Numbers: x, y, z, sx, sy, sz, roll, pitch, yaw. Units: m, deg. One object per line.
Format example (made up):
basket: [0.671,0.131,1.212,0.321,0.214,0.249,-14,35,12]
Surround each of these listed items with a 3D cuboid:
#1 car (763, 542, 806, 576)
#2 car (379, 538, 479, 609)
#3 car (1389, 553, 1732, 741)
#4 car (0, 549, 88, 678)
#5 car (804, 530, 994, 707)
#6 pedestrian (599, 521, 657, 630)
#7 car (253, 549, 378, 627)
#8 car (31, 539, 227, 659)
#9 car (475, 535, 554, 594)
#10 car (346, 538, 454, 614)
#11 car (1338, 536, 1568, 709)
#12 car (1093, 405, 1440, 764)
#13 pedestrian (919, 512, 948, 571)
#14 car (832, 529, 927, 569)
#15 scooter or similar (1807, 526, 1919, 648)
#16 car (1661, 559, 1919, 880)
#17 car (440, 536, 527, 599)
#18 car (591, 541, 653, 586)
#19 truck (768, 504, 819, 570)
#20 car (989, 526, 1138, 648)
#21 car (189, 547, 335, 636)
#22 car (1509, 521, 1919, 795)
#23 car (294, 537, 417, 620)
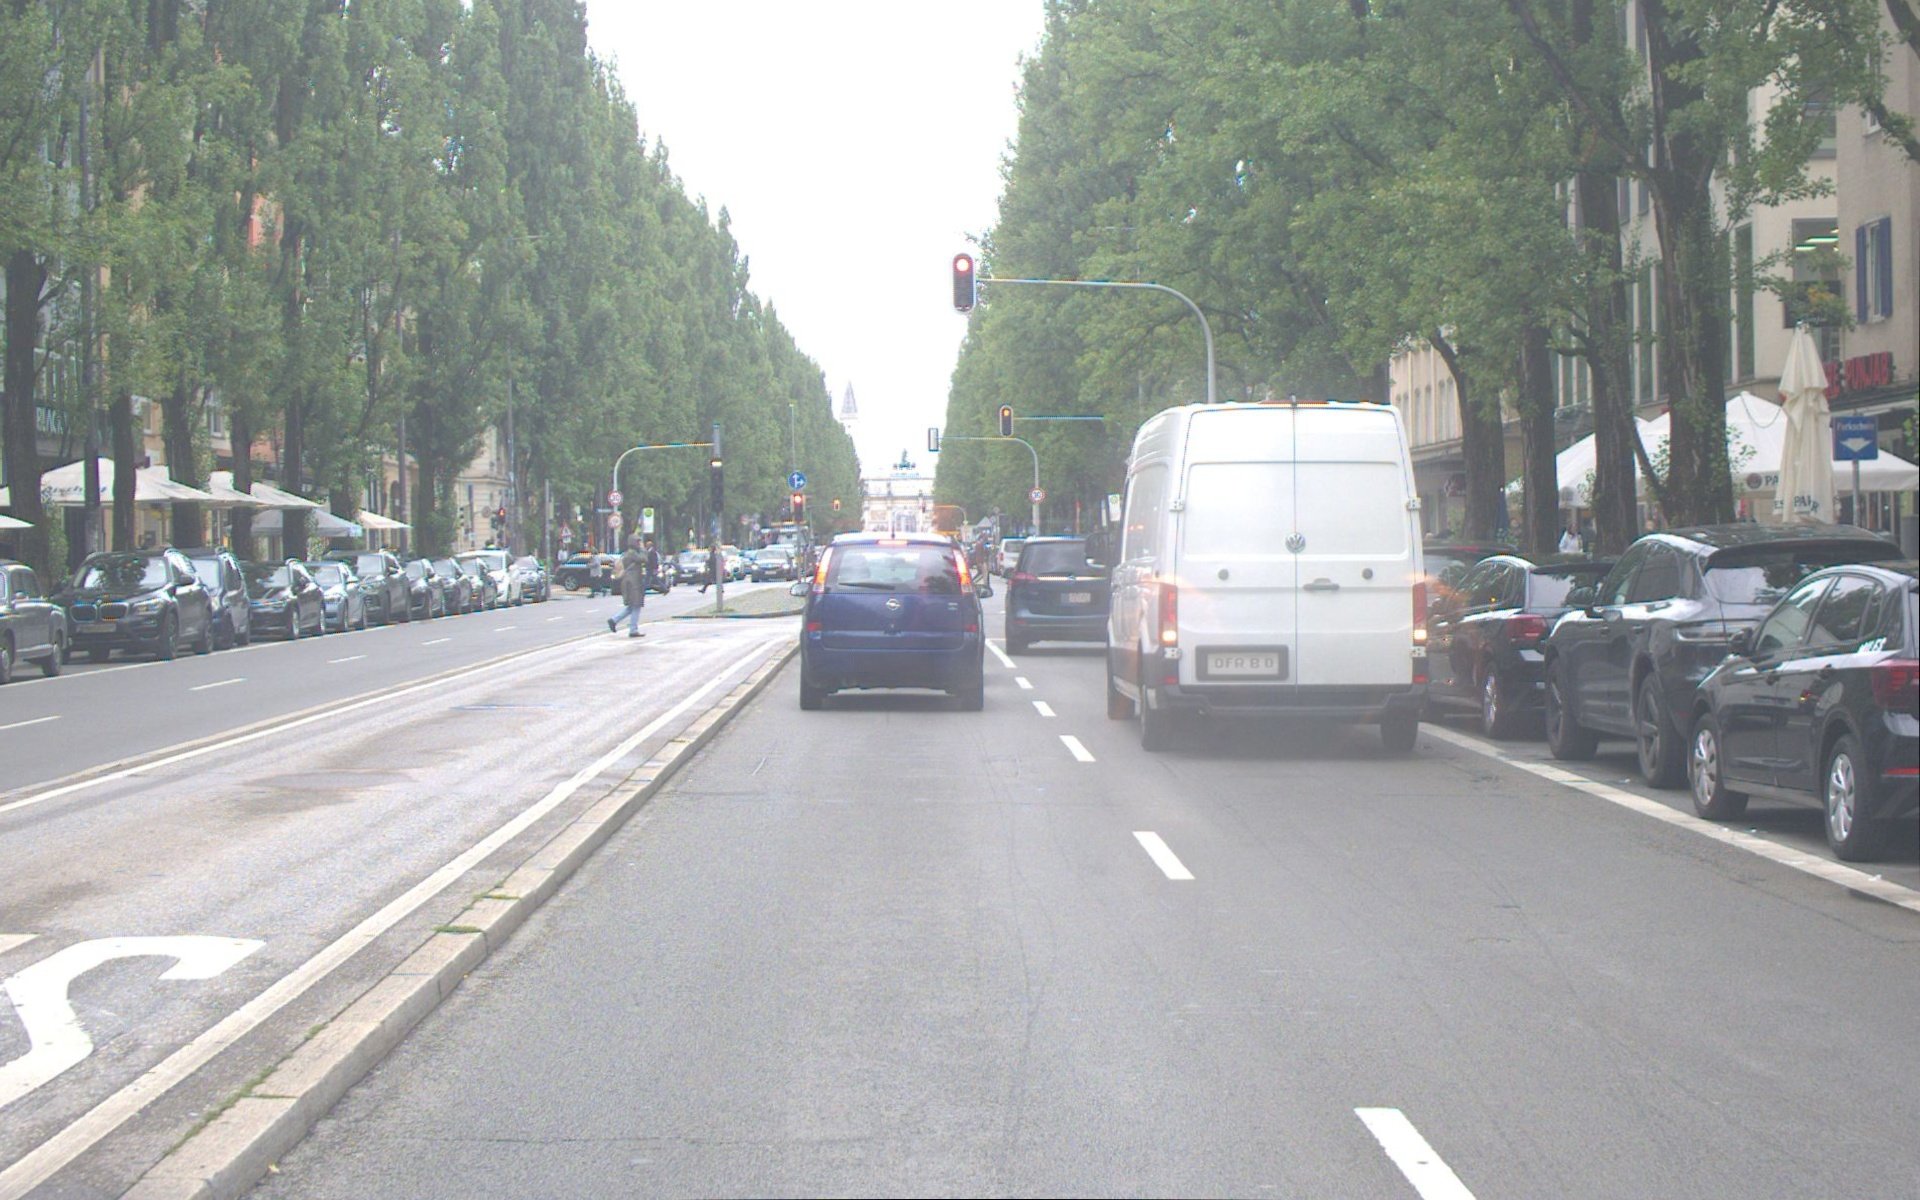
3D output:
car: [-7.680,-1.808,150.537,1.735,1.460,3.365,-1,1,-1]
car: [-13.171,-0.681,85.472,1.866,1.660,4.120,-2,1,-1]
car: [4.811,0.327,28.144,1.709,1.388,4.344,0,1,-5]
car: [-12.643,0.172,43.973,1.866,1.546,4.415,-2,1,-1]
car: [-0.565,0.125,32.385,1.671,1.563,4.000,0,1,-1]
pedestrian: [-5.179,-0.383,53.691,0.859,1.678,0.627,-1,1,-4]
car: [-12.824,-0.269,68.633,1.733,1.421,4.144,-2,1,-1]
car: [-12.567,-0.054,52.255,1.866,1.658,4.611,-2,1,-1]
car: [-13.391,-1.093,103.533,1.866,1.660,4.120,-2,1,-1]
car: [-13.109,-0.577,80.651,1.866,1.660,4.120,-2,1,-1]
car: [4.526,0.179,31.889,1.592,1.513,2.730,1,1,-3]
car: [2.256,-0.178,27.218,2.063,2.484,6.731,0,1,-1]
pedestrian: [-0.834,-1.831,107.049,0.719,1.820,0.888,1,0,-11]
car: [-3.223,-2.053,137.846,3.353,1.555,1.741,-1,1,-24]
scooter or similar: [10.946,-0.178,41.423,0.636,1.371,2.496,-2,2,-4]
car: [4.918,0.516,17.571,1.694,1.411,3.952,0,1,-3]
car: [-13.320,-0.928,96.258,1.866,1.660,4.120,-2,1,-1]
car: [-11.680,-1.288,119.084,1.697,1.457,4.713,-2,1,-1]
truck: [-8.687,-3.299,180.019,2.383,3.335,7.111,-1,1,-1]
car: [1.390,-0.214,47.666,1.896,1.616,4.000,0,1,-1]
car: [-12.763,-0.184,63.069,1.798,1.483,4.351,-2,1,-1]
car: [4.996,0.311,22.805,1.803,1.632,4.448,0,1,-2]
car: [-12.963,-0.486,73.919,1.866,1.660,4.401,-2,1,-1]
